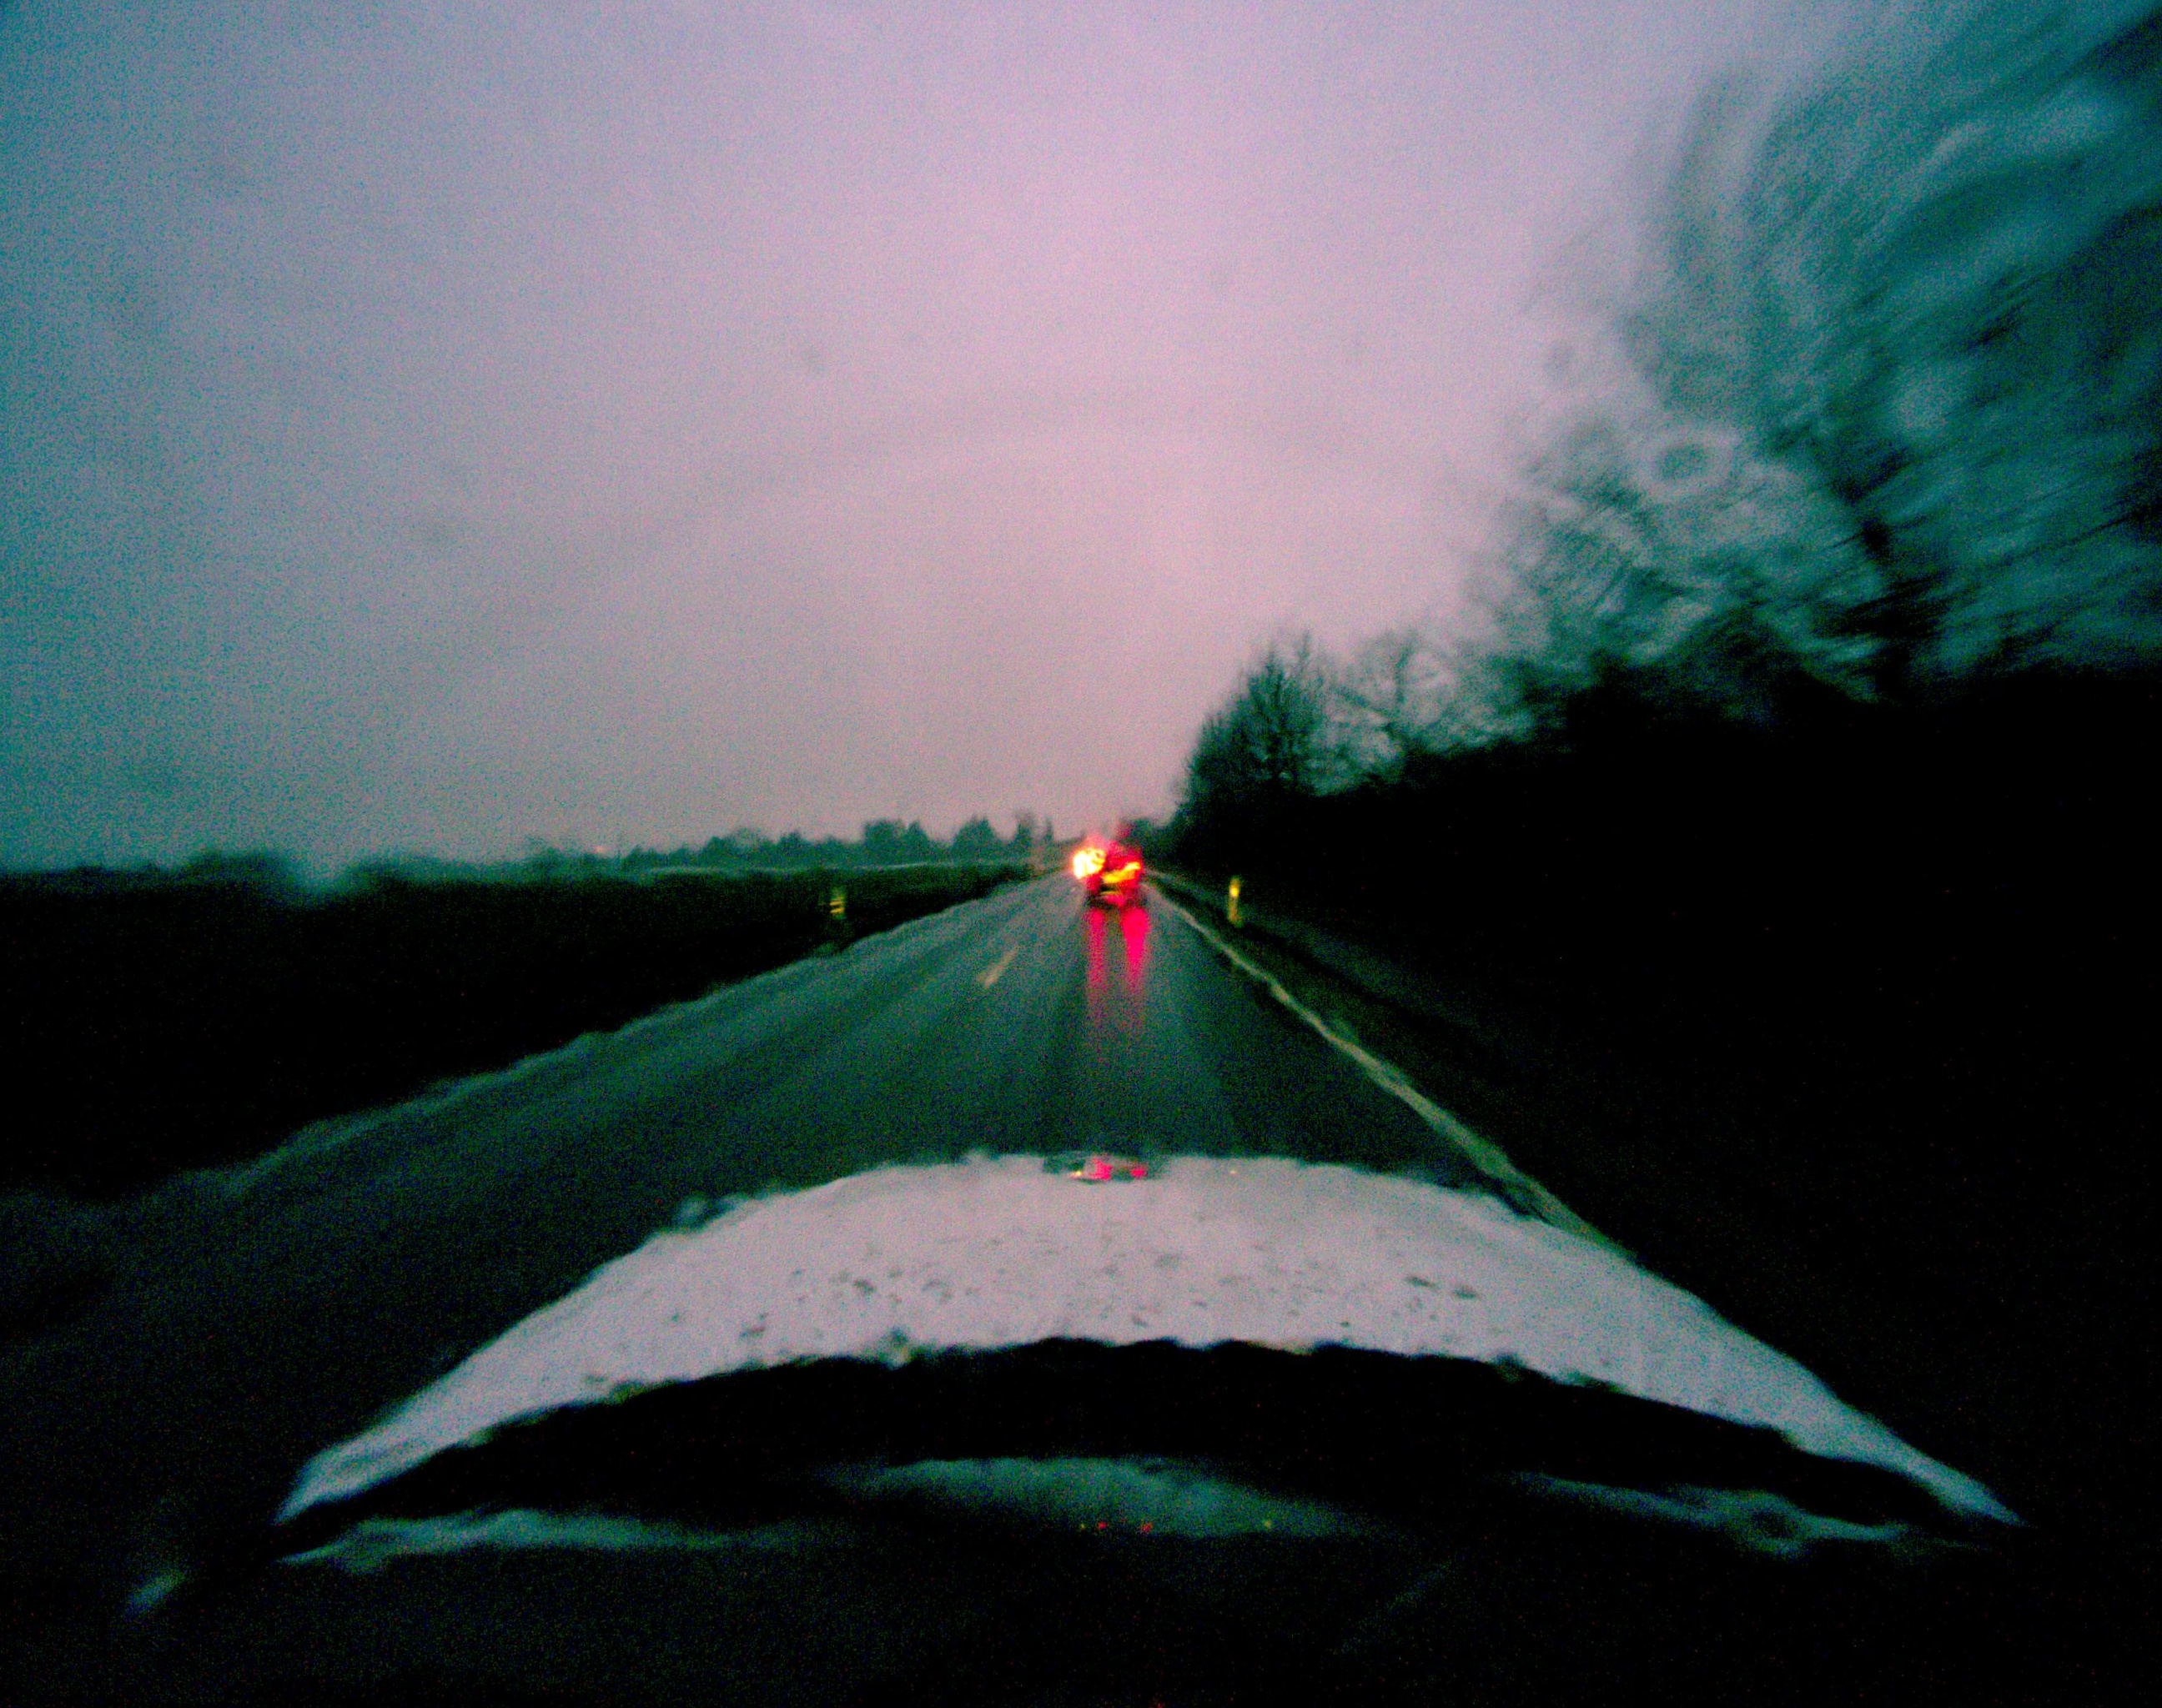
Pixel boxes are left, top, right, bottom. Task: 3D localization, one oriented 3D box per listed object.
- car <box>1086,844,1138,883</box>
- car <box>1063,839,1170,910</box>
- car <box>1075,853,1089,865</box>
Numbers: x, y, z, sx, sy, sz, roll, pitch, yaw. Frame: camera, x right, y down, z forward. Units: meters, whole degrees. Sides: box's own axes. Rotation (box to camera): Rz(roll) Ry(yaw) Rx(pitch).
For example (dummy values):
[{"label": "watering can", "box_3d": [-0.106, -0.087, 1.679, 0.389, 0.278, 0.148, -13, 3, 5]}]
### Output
[{"label": "car", "box_3d": [1.795, 0.502, 47.163, 2.745, 2.035, 6.594, -2, 0, 2]}, {"label": "car", "box_3d": [1.204, 0.602, 28.033, 3.152, 2.035, 6.855, -2, 0, 2]}, {"label": "car", "box_3d": [0.146, 0.695, 118.627, 1.833, 1.721, 3.957, -1, 0, 1]}]
